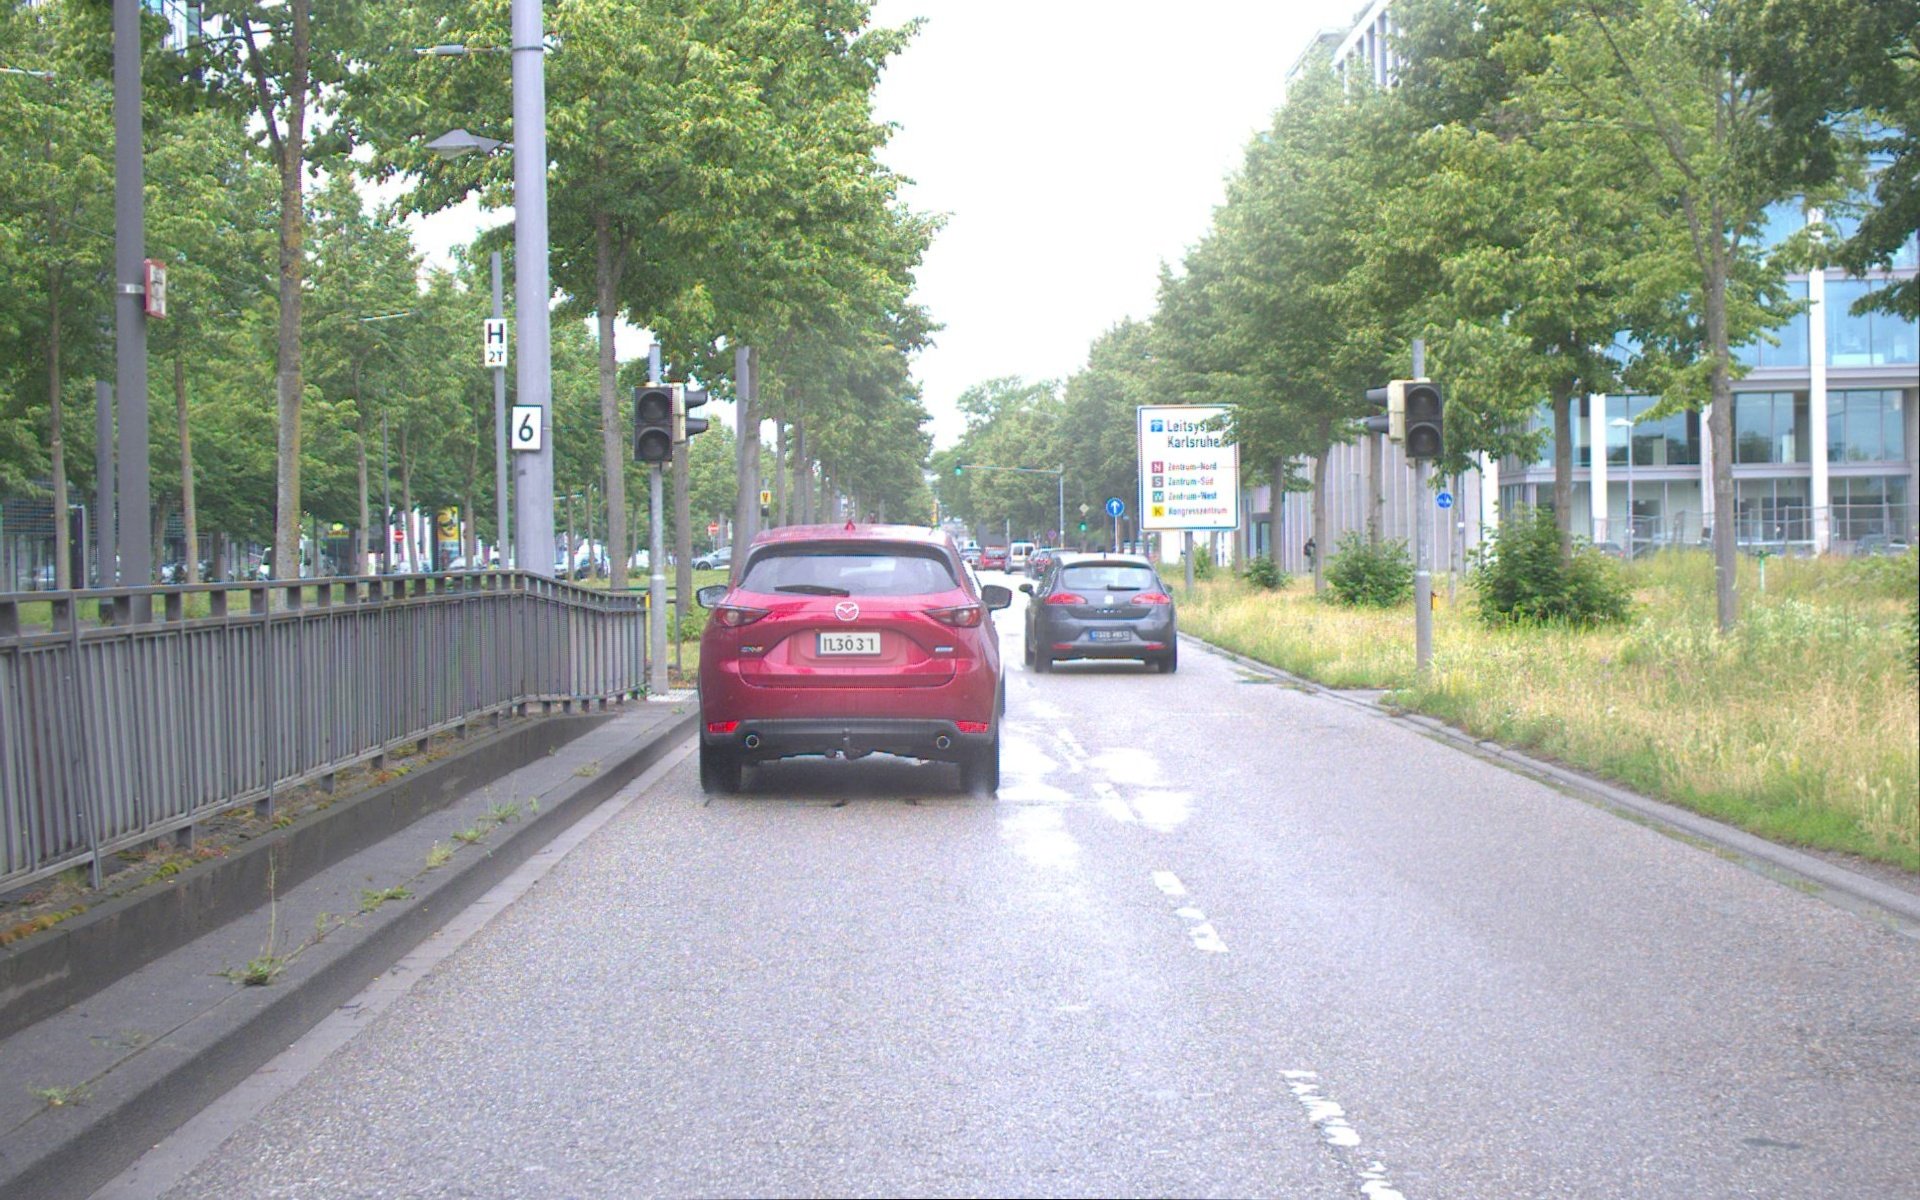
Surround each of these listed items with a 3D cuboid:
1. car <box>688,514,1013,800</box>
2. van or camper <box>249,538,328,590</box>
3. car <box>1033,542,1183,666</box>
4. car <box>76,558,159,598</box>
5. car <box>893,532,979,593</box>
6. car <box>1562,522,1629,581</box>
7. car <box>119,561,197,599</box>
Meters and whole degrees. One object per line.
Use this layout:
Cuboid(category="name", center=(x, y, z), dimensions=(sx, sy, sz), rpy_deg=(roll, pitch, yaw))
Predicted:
Cuboid(category="car", center=(-0.680, 0.299, 22.215), dimensions=(1.898, 1.671, 4.000), rpy_deg=(0, 1, -1))
Cuboid(category="van or camper", center=(-30.267, -1.640, 155.209), dimensions=(2.433, 2.307, 5.850), rpy_deg=(-1, 1, 0))
Cuboid(category="car", center=(1.807, 0.017, 42.830), dimensions=(1.743, 1.460, 3.781), rpy_deg=(0, 1, 1))
Cuboid(category="car", center=(-29.960, -0.804, 122.376), dimensions=(1.993, 1.373, 4.000), rpy_deg=(0, 1, -1))
Cuboid(category="car", center=(-0.612, -0.927, 83.577), dimensions=(1.967, 1.432, 4.553), rpy_deg=(1, 1, -2))
Cuboid(category="car", center=(20.386, -1.531, 110.331), dimensions=(1.855, 1.576, 3.998), rpy_deg=(0, -4, 7))
Cuboid(category="car", center=(-29.968, -0.746, 128.604), dimensions=(1.993, 1.373, 4.000), rpy_deg=(0, 1, -1))
